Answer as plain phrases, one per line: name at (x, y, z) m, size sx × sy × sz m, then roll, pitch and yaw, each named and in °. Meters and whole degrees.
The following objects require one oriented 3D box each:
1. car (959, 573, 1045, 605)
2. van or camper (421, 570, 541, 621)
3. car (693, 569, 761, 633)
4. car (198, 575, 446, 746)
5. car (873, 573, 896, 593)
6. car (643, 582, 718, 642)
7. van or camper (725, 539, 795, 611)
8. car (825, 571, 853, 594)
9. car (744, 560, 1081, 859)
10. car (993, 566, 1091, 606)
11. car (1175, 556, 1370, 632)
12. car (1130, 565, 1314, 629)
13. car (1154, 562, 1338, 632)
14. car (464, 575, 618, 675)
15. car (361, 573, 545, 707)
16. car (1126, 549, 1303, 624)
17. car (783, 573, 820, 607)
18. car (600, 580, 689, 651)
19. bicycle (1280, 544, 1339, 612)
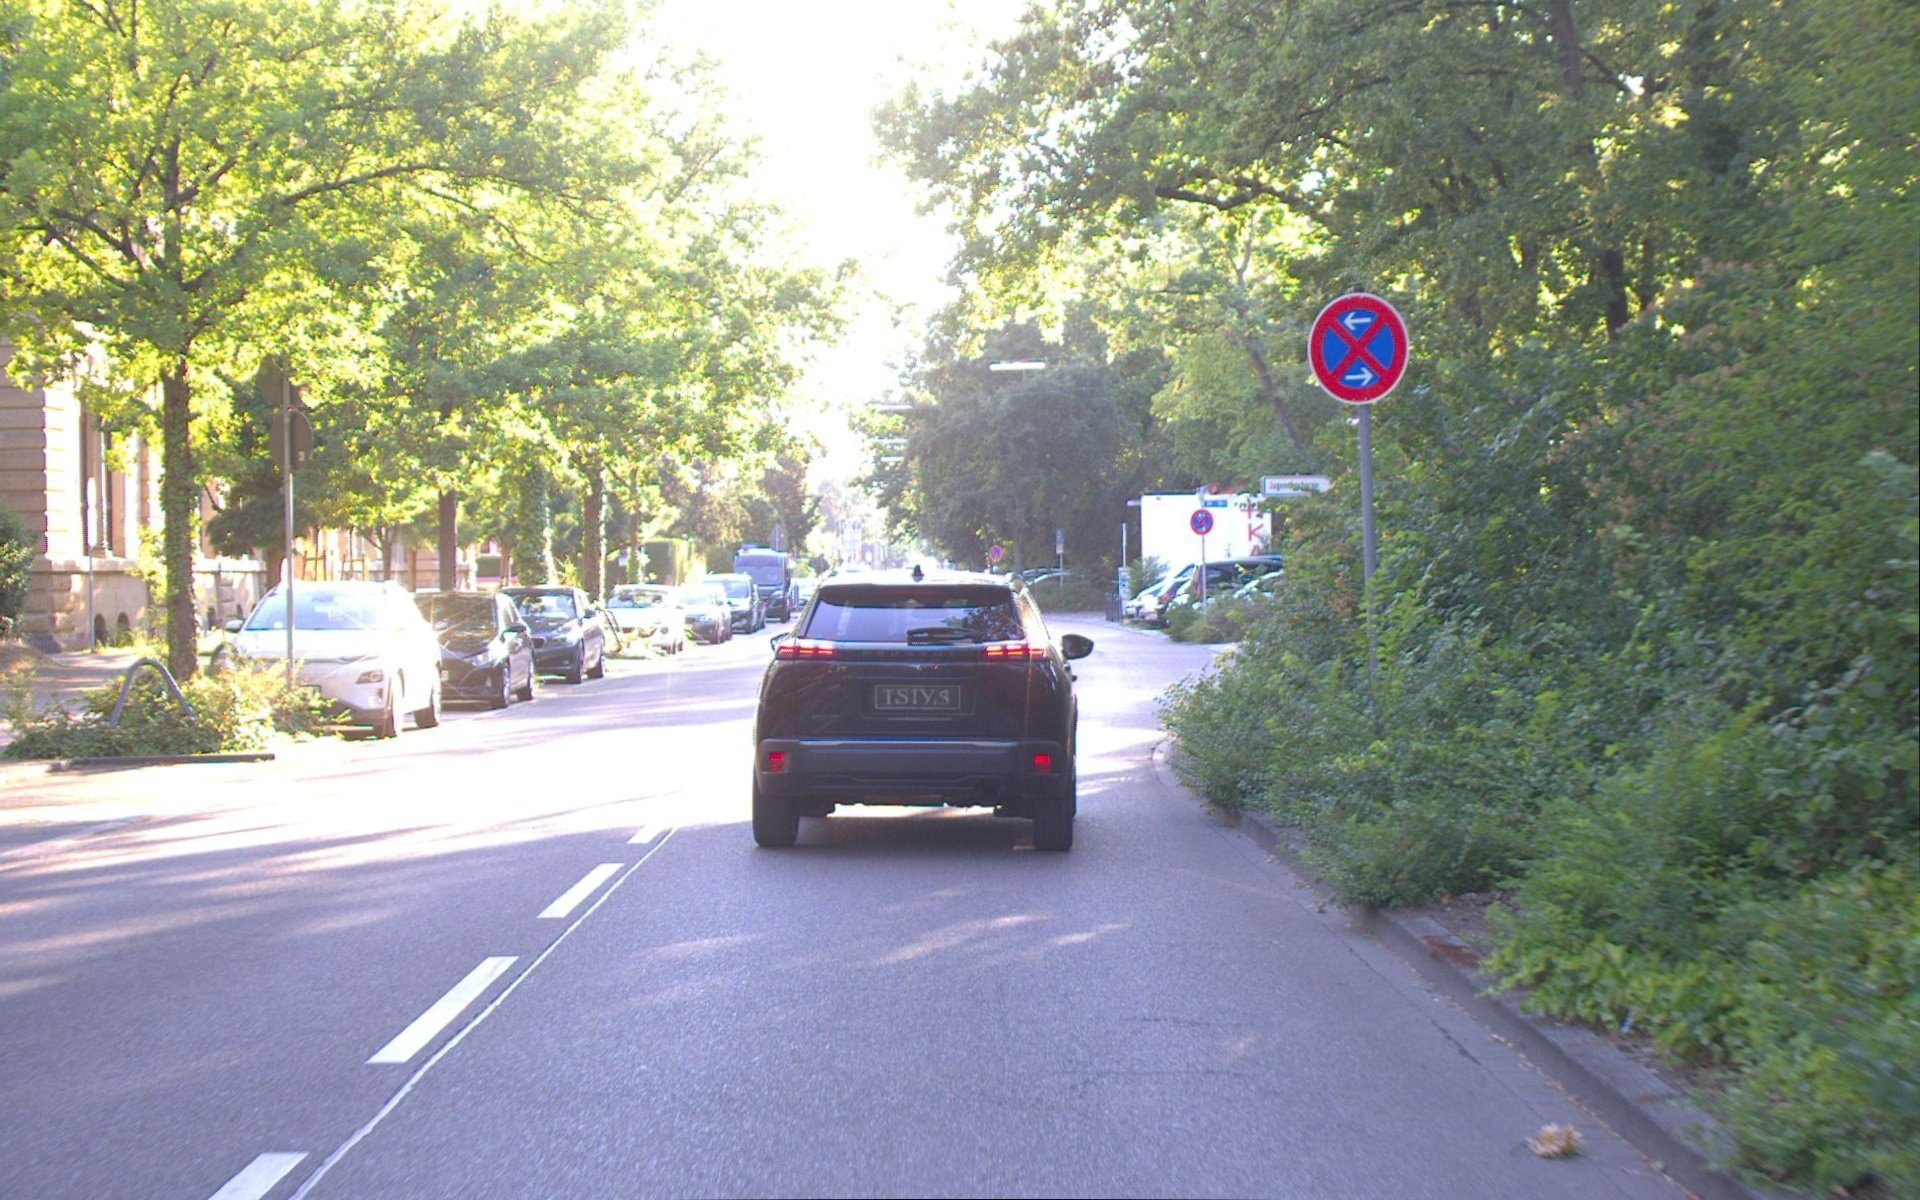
car at (2.152, -0.576, 175.690) m, size 4.242 × 1.444 × 2.021 m, roll -2°, pitch 0°, yaw -3°
van or camper at (-20.450, -0.191, 146.946) m, size 4.768 × 1.979 × 2.001 m, roll -1°, pitch 5°, yaw 2°
car at (-7.115, 0.003, 105.351) m, size 1.777 × 1.859 × 4.332 m, roll 2°, pitch 1°, yaw 0°
car at (-6.439, 0.571, 35.092) m, size 1.803 × 1.610 × 4.147 m, roll -1°, pitch 0°, yaw -1°
car at (-5.659, -1.277, 257.597) m, size 1.741 × 1.453 × 4.624 m, roll -1°, pitch 0°, yaw -1°
car at (-7.098, 0.290, 87.588) m, size 1.617 × 1.491 × 4.377 m, roll 0°, pitch 0°, yaw -1°
van or camper at (-7.235, -0.886, 124.991) m, size 2.229 × 2.536 × 7.080 m, roll 1°, pitch 0°, yaw -1°
car at (-8.736, -1.262, 248.498) m, size 1.899 × 1.568 × 4.000 m, roll 0°, pitch 0°, yaw -1°
car at (-0.273, 0.556, 20.261) m, size 1.771 × 1.563 × 4.109 m, roll 0°, pitch 1°, yaw -1°
car at (3.394, -0.592, 142.553) m, size 3.987 × 1.549 × 1.726 m, roll -1°, pitch 2°, yaw -1°
car at (7.376, -0.149, 81.311) m, size 4.362 × 1.548 × 1.727 m, roll -3°, pitch 0°, yaw -1°
car at (7.360, -0.094, 96.871) m, size 4.926 × 1.548 × 1.916 m, roll -3°, pitch 0°, yaw -1°
car at (7.166, -0.080, 86.373) m, size 4.362 × 1.548 × 1.876 m, roll -3°, pitch 0°, yaw -1°
car at (-6.572, 0.373, 54.380) m, size 1.802 × 1.505 × 4.862 m, roll 0°, pitch 0°, yaw 0°
car at (-6.370, 0.471, 43.560) m, size 1.780 × 1.610 × 4.147 m, roll 0°, pitch 0°, yaw -1°
car at (7.312, -0.387, 99.188) m, size 4.852 × 1.909 × 1.916 m, roll -3°, pitch 0°, yaw -1°
car at (-7.391, -0.456, 160.186) m, size 1.613 × 1.510 × 3.712 m, roll -3°, pitch 0°, yaw -2°
car at (-6.852, 0.324, 74.932) m, size 1.617 × 1.491 × 3.925 m, roll 0°, pitch 0°, yaw -1°
bicycle at (6.407, -0.410, 62.934) m, size 0.493 × 1.144 × 2.283 m, roll -4°, pitch 1°, yaw 19°
